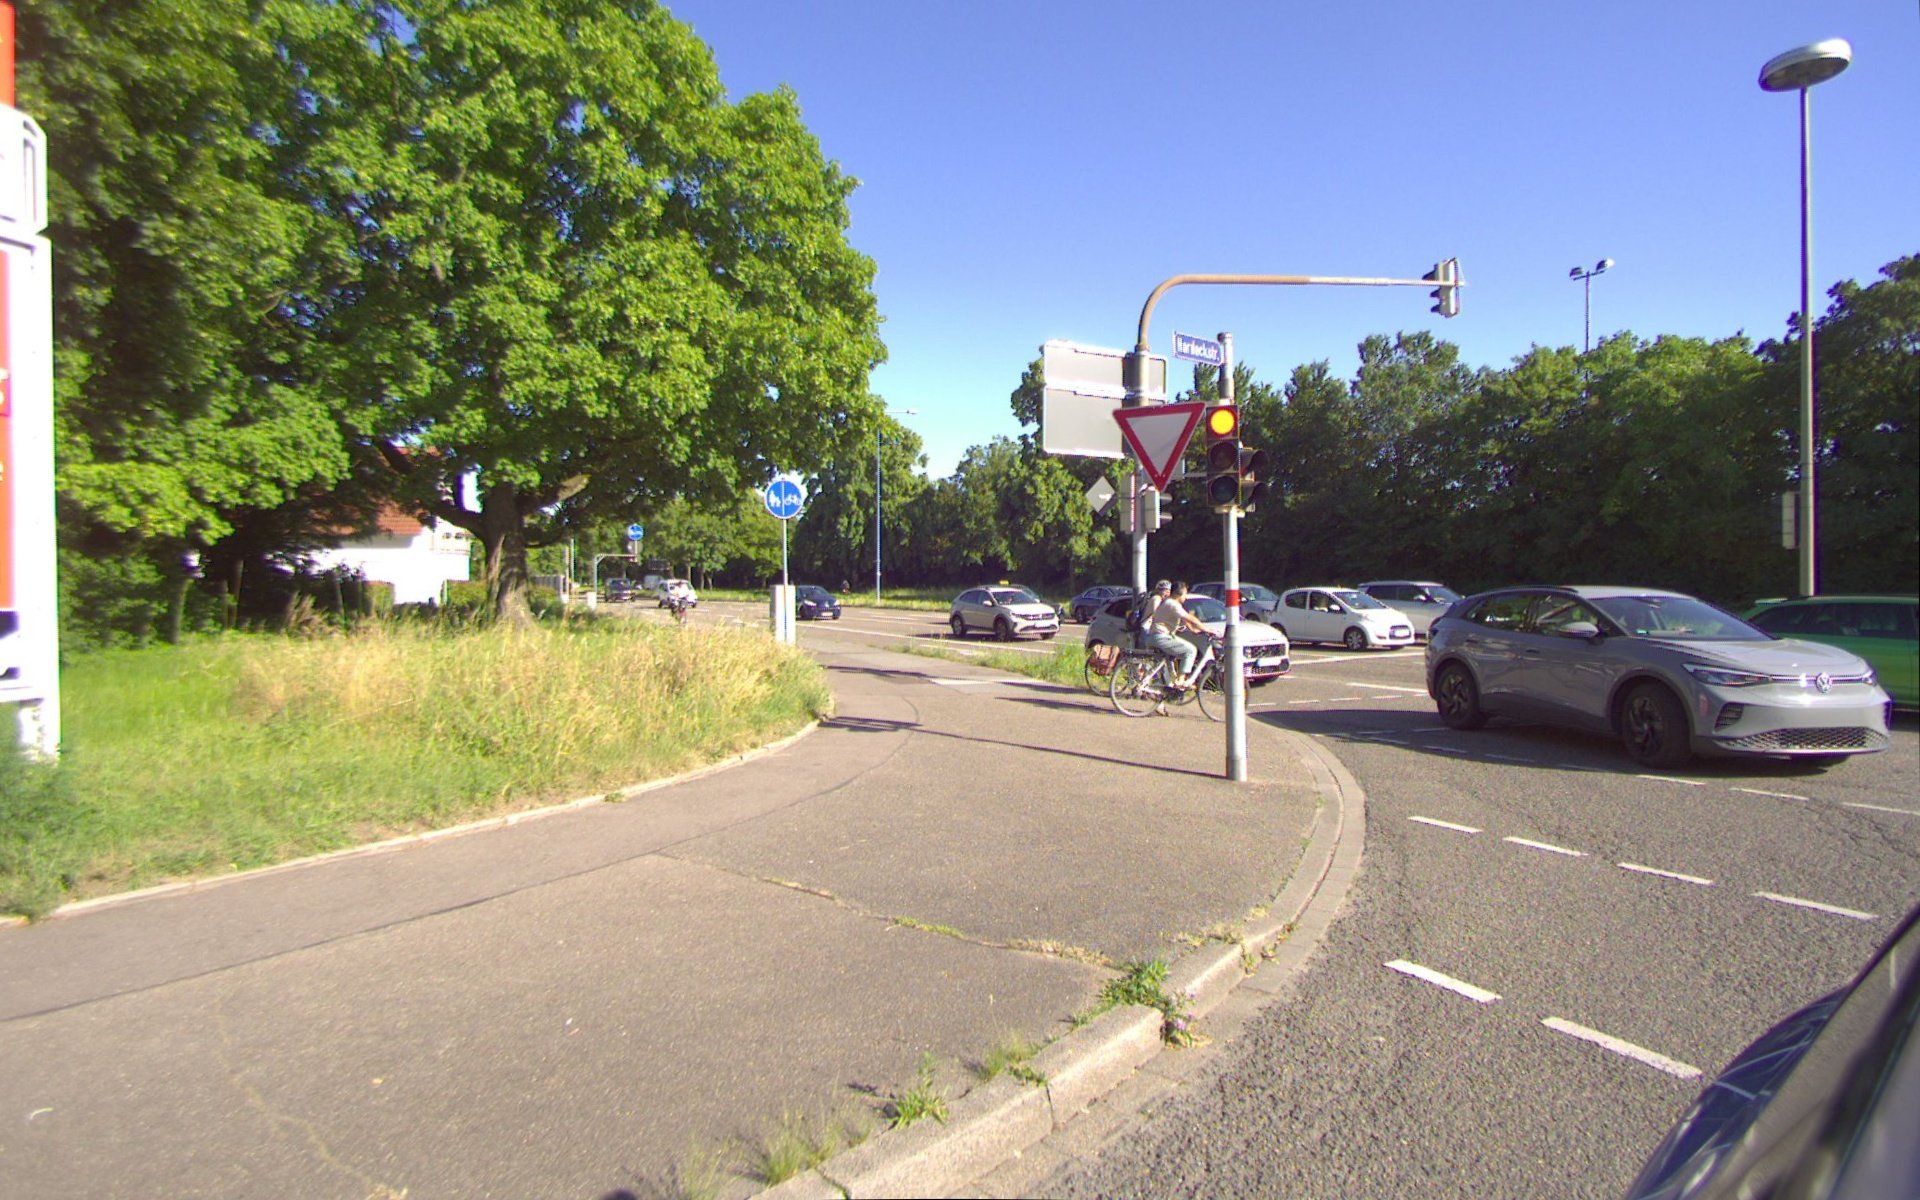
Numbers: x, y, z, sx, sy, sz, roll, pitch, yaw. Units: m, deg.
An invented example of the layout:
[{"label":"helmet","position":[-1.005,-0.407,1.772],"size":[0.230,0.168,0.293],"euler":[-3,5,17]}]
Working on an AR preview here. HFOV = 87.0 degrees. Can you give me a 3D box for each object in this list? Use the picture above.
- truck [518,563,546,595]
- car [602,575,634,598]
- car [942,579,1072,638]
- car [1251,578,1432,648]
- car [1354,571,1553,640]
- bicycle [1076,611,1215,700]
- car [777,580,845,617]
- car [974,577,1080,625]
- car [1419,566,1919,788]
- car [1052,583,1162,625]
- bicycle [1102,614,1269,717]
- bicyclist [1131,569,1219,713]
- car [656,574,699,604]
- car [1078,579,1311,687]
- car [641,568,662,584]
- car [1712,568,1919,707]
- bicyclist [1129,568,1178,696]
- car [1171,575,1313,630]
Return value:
[{"label":"truck","position":[-44.340,-2.187,104.761],"size":[1.960,3.114,5.815],"euler":[-3,3,-29]},{"label":"car","position":[-28.576,-1.174,84.553],"size":[1.805,1.820,3.917],"euler":[-3,3,-29]},{"label":"car","position":[1.305,0.195,29.982],"size":[1.882,1.504,4.372],"euler":[-3,3,-27]},{"label":"car","position":[9.040,0.233,24.269],"size":[1.659,1.457,3.917],"euler":[-3,3,-29]},{"label":"car","position":[12.155,0.080,25.215],"size":[1.800,1.557,4.200],"euler":[0,1,-29]},{"label":"bicycle","position":[2.600,0.764,14.238],"size":[1.841,1.089,0.529],"euler":[3,3,12]},{"label":"car","position":[-6.639,-0.112,44.680],"size":[1.659,1.457,3.917],"euler":[-3,3,-29]},{"label":"car","position":[2.361,0.007,36.383],"size":[1.594,1.559,3.999],"euler":[-3,3,-36]},{"label":"car","position":[6.809,0.532,10.232],"size":[1.954,1.660,4.372],"euler":[-2,2,-6]},{"label":"car","position":[5.414,0.102,37.846],"size":[1.800,1.422,4.361],"euler":[-1,2,-29]},{"label":"bicycle","position":[2.736,0.786,12.349],"size":[1.833,1.089,0.532],"euler":[4,3,-5]},{"label":"bicyclist","position":[2.604,0.481,12.323],"size":[0.791,1.655,0.544],"euler":[4,2,-6]},{"label":"car","position":[-18.538,-0.727,66.336],"size":[1.764,1.820,3.917],"euler":[-3,3,-29]},{"label":"car","position":[4.002,0.467,17.940],"size":[1.659,1.592,4.126],"euler":[-3,3,-29]},{"label":"car","position":[-44.273,-3.458,145.262],"size":[1.880,2.110,4.546],"euler":[-3,3,-28]},{"label":"car","position":[11.641,0.407,11.683],"size":[1.882,1.504,4.372],"euler":[-3,3,-27]},{"label":"bicyclist","position":[2.714,0.431,14.209],"size":[0.576,1.717,0.525],"euler":[3,3,11]},{"label":"car","position":[8.712,0.007,31.586],"size":[1.842,1.594,4.249],"euler":[-1,2,-29]}]
